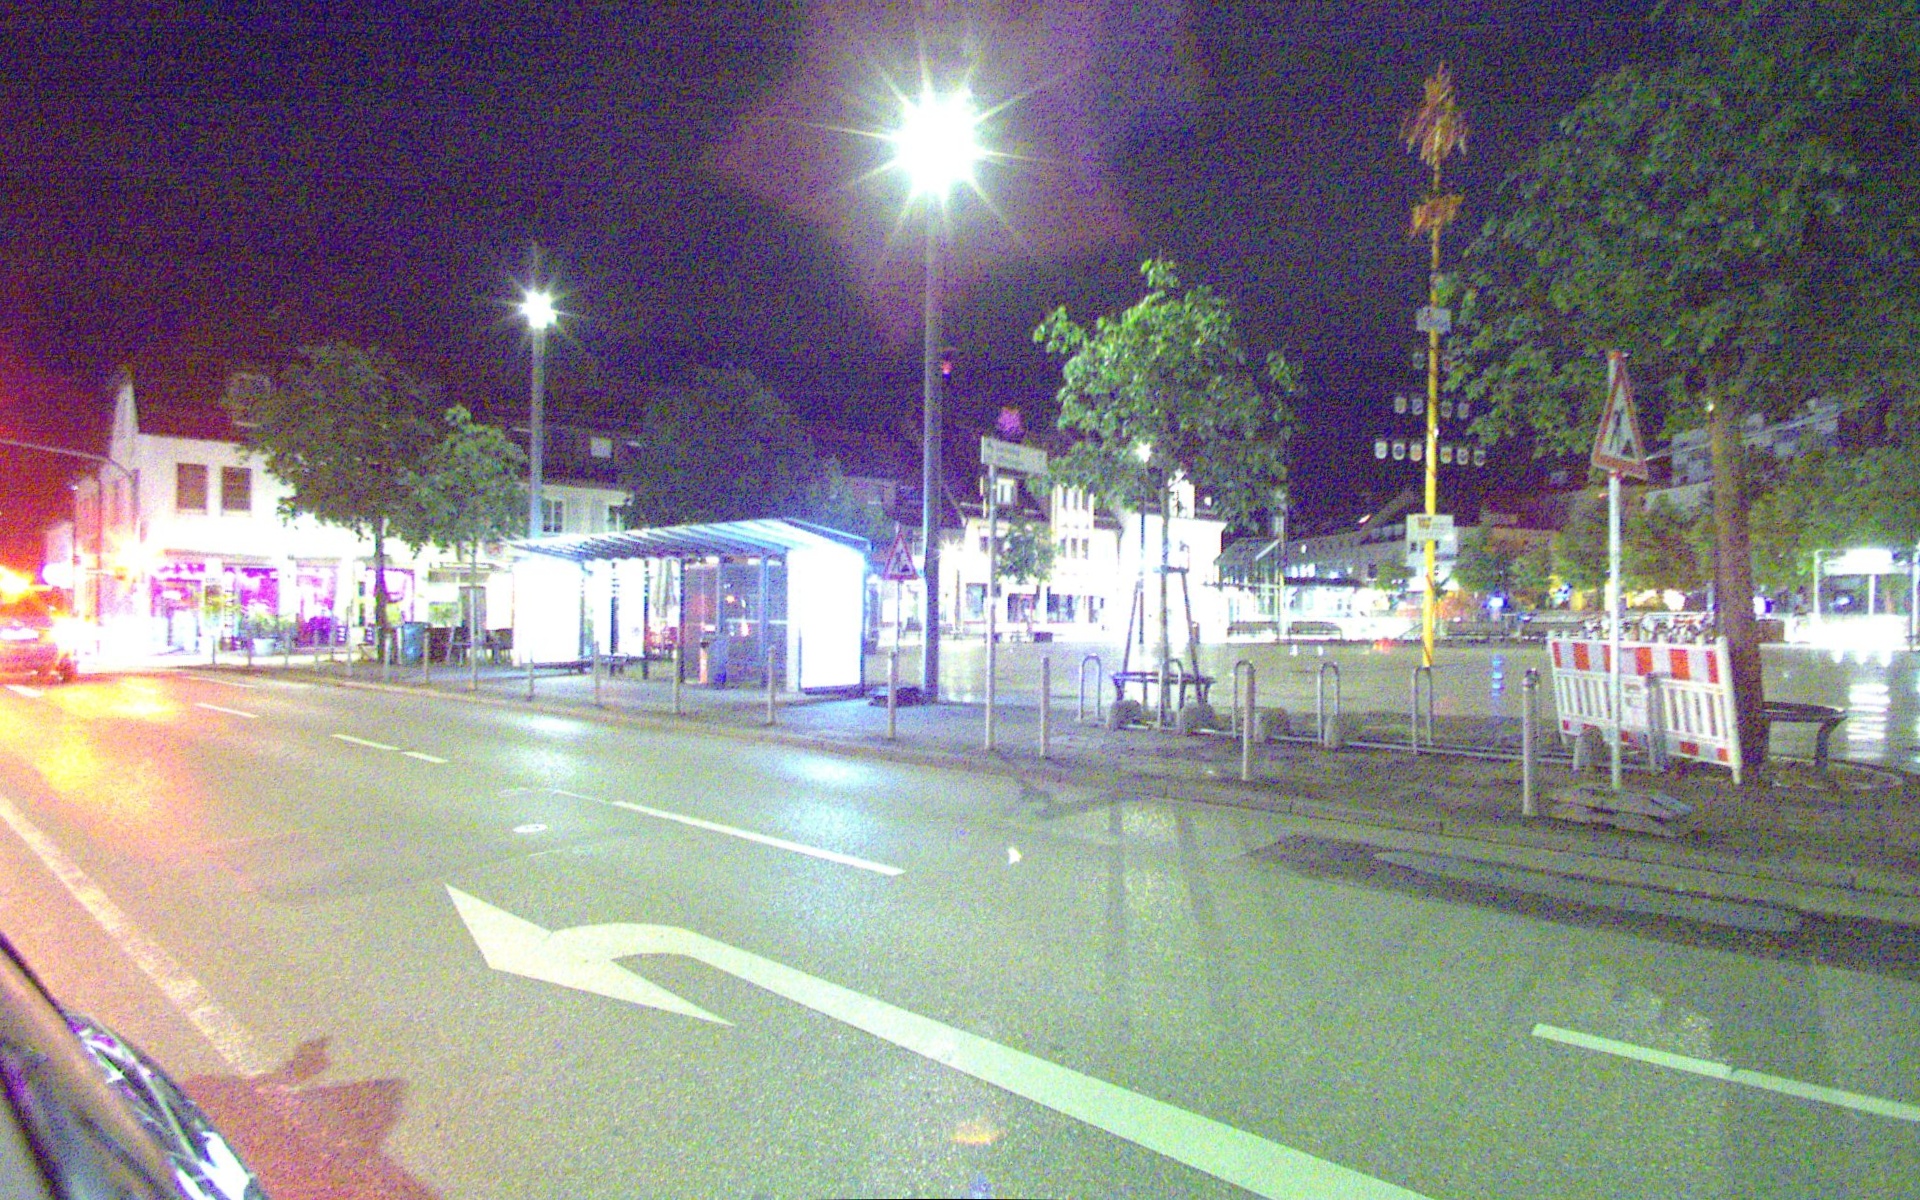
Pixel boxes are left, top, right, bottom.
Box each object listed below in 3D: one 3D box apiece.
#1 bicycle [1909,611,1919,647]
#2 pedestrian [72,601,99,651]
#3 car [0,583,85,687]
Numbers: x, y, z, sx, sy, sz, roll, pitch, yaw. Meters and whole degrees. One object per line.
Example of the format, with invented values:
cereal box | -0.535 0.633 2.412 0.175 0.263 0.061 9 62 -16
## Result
bicycle | 26.404 0.778 26.979 1.525 0.965 0.476 -1 0 25
pedestrian | -29.197 0.872 33.790 0.637 1.640 0.584 -1 0 -39
car | -19.107 0.666 20.050 4.909 1.886 1.946 -1 -1 41
